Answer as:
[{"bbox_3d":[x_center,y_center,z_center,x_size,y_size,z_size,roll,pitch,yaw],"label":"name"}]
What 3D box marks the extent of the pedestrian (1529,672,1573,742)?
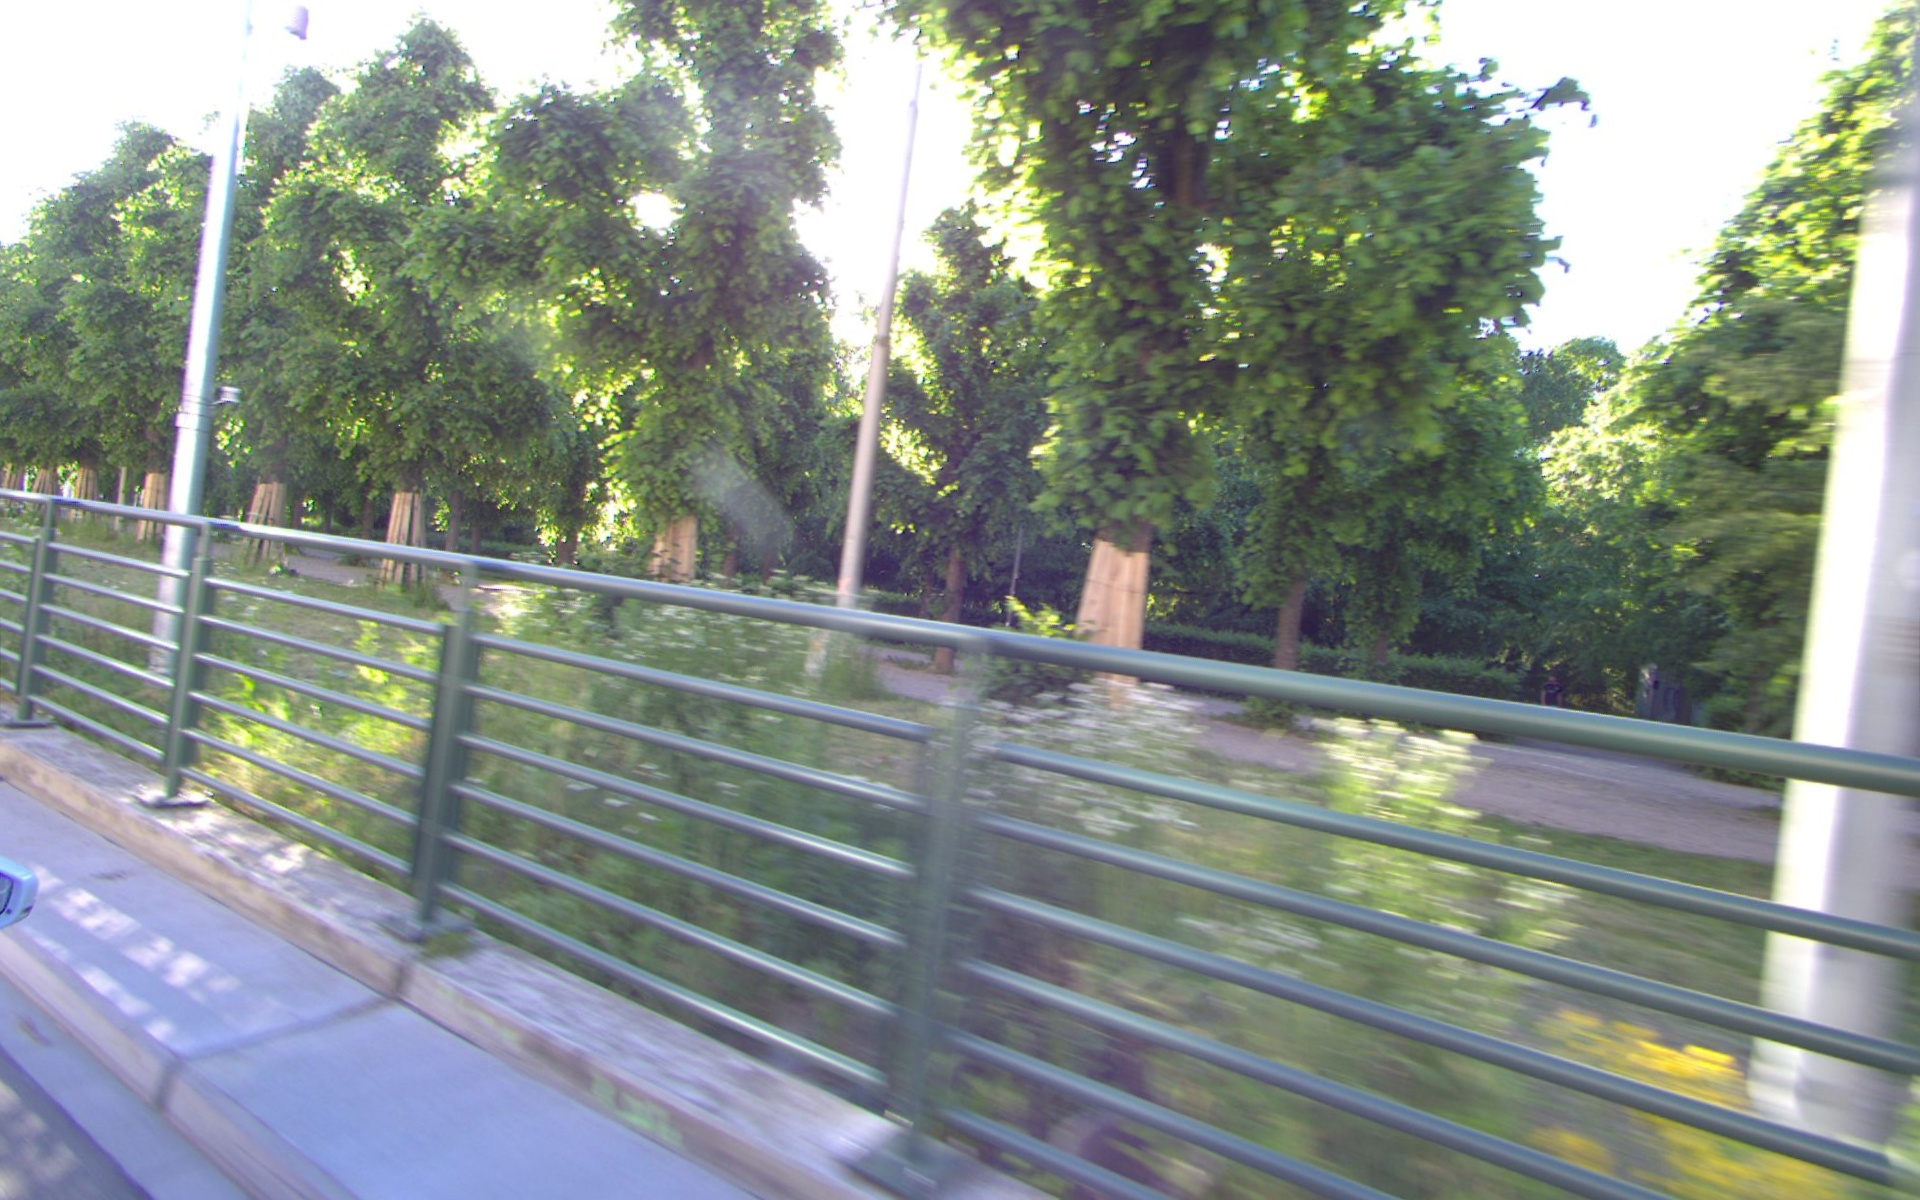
[{"bbox_3d":[16.778,3.024,28.572,0.860,1.825,0.865,7,1,29],"label":"pedestrian"}]
